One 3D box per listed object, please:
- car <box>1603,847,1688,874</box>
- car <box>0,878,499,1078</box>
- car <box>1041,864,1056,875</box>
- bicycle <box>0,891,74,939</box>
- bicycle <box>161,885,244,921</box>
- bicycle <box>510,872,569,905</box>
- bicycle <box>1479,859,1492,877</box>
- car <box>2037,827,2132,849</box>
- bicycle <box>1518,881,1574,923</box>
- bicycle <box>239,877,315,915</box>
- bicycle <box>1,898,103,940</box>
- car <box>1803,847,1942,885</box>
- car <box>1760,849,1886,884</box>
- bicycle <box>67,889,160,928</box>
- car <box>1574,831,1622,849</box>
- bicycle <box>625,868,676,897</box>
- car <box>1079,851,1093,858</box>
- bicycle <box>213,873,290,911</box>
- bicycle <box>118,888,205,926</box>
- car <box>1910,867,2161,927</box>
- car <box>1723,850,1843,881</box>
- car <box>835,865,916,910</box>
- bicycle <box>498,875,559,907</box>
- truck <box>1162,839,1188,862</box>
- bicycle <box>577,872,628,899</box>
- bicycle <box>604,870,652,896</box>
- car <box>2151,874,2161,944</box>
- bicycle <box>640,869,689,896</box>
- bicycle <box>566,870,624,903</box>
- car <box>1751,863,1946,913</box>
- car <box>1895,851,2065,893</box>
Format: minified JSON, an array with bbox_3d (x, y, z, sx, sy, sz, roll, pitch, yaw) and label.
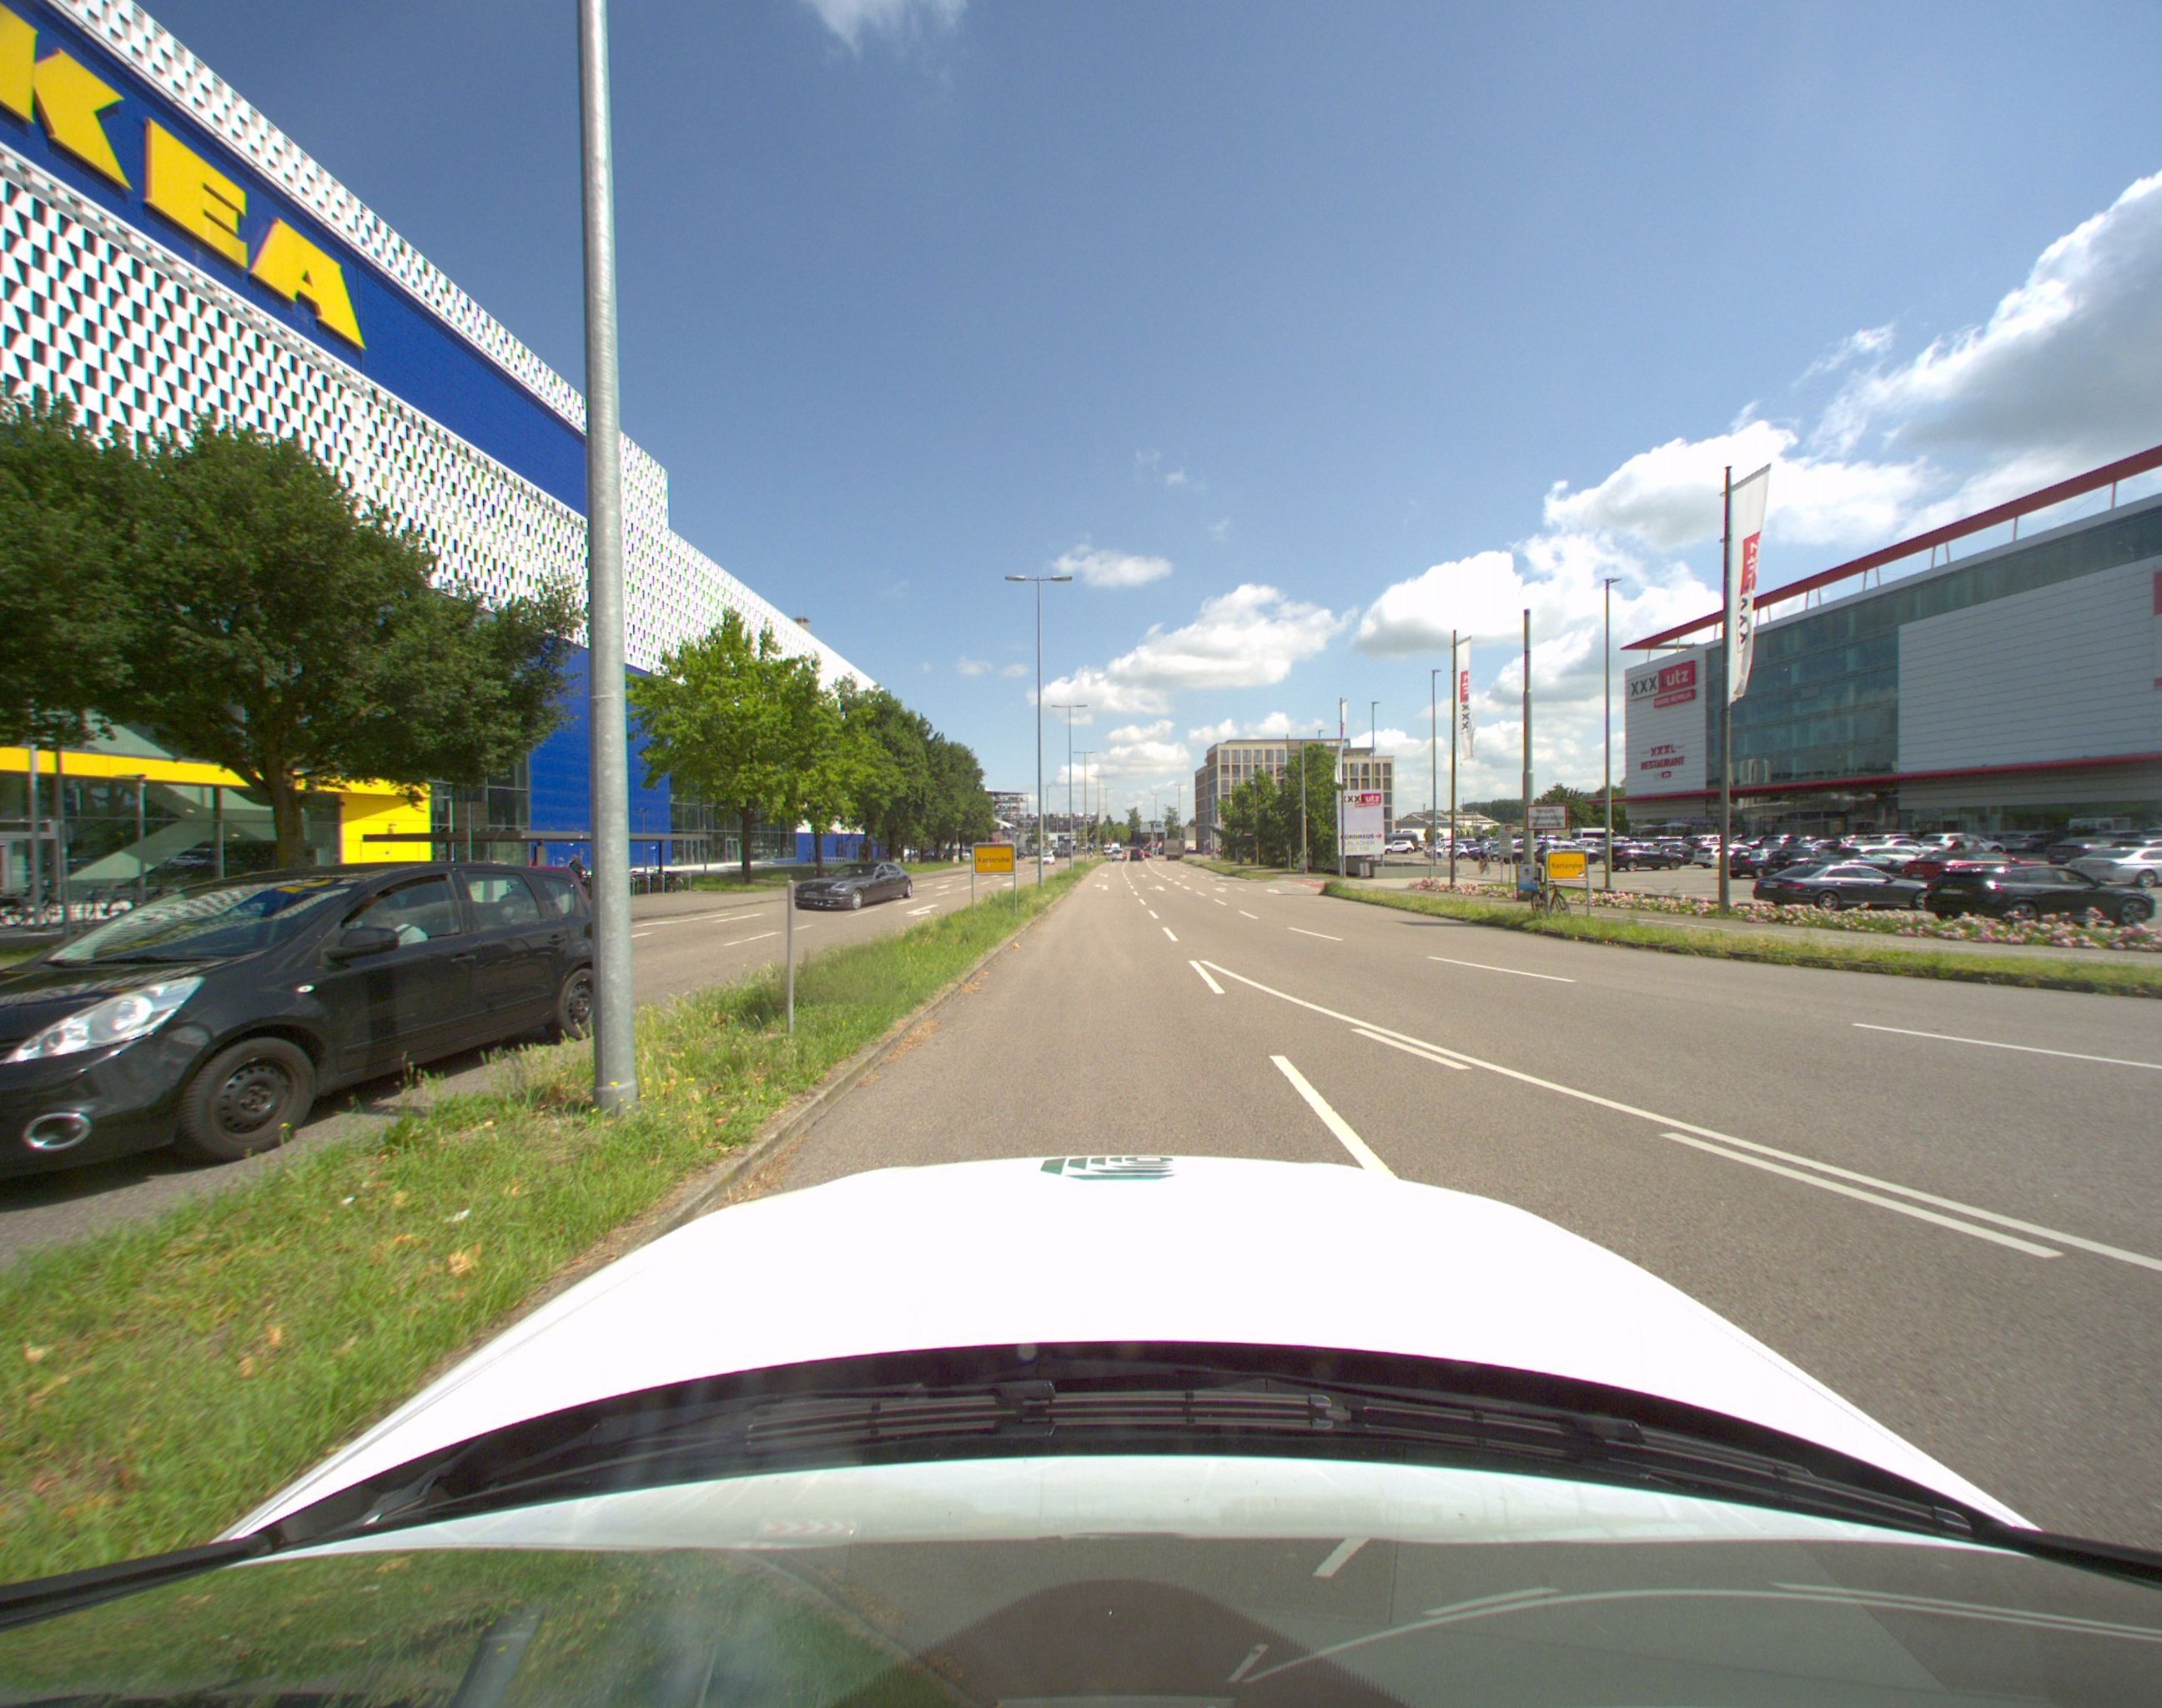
[{"bbox_3d":[34.889,0.388,50.369,4.042,1.531,1.741,-2,0,-2],"label":"car"},{"bbox_3d":[-8.120,1.011,8.199,1.406,1.391,4.098,-3,-1,2],"label":"car"},{"bbox_3d":[-4.386,2.044,109.794,1.636,1.429,3.673,-2,0,3],"label":"car"},{"bbox_3d":[-27.316,1.573,21.028,1.951,1.172,0.467,0,0,-3],"label":"bicycle"},{"bbox_3d":[-27.537,1.538,25.538,1.929,1.070,0.528,-1,-1,-3],"label":"bicycle"},{"bbox_3d":[-21.511,1.355,32.340,1.918,1.272,0.630,0,0,1],"label":"bicycle"},{"bbox_3d":[25.901,0.914,52.123,0.617,1.068,1.980,-1,0,28],"label":"bicycle"},{"bbox_3d":[66.676,-1.058,54.141,4.150,1.478,1.740,0,1,1],"label":"car"},{"bbox_3d":[11.192,1.139,19.635,0.515,0.952,1.544,0,-1,2],"label":"bicycle"},{"bbox_3d":[-27.587,1.438,27.951,1.940,1.244,0.597,-1,-1,-3],"label":"bicycle"},{"bbox_3d":[-27.313,1.719,21.624,1.929,1.070,0.528,-1,-1,-3],"label":"bicycle"},{"bbox_3d":[34.815,0.511,35.903,4.339,1.508,1.684,-2,0,3],"label":"car"},{"bbox_3d":[34.996,0.569,38.497,4.339,1.442,1.628,-2,1,3],"label":"car"},{"bbox_3d":[-27.505,1.543,23.172,1.929,1.070,0.528,-1,-1,-3],"label":"bicycle"},{"bbox_3d":[56.443,-1.554,88.890,3.971,1.951,2.001,0,1,2],"label":"car"},{"bbox_3d":[-19.119,1.256,36.192,1.918,1.272,0.630,0,0,1],"label":"bicycle"},{"bbox_3d":[1.403,0.232,223.738,3.977,1.926,1.825,0,0,-3],"label":"car"},{"bbox_3d":[-27.523,1.257,27.022,1.929,1.209,0.528,-1,-1,-3],"label":"bicycle"},{"bbox_3d":[-27.541,1.587,24.397,1.924,1.089,0.520,0,0,-2],"label":"bicycle"},{"bbox_3d":[24.609,1.093,21.083,4.341,1.416,1.858,-1,0,2],"label":"car"},{"bbox_3d":[35.153,0.554,40.869,4.339,1.362,1.849,-2,1,3],"label":"car"},{"bbox_3d":[-7.499,1.178,30.152,1.657,1.421,4.520,-3,-1,2],"label":"car"},{"bbox_3d":[-21.296,1.424,31.426,1.918,1.183,0.630,0,1,1],"label":"bicycle"},{"bbox_3d":[16.447,-0.654,142.359,3.106,3.940,8.895,0,1,15],"label":"truck"},{"bbox_3d":[-21.268,1.398,36.215,1.918,1.179,0.630,0,1,1],"label":"bicycle"},{"bbox_3d":[-21.307,1.379,38.317,1.918,1.184,0.630,0,1,1],"label":"bicycle"},{"bbox_3d":[24.443,1.118,16.007,4.341,1.440,1.797,-1,0,2],"label":"car"},{"bbox_3d":[-19.085,1.292,37.345,1.918,1.183,0.630,0,1,1],"label":"bicycle"},{"bbox_3d":[-19.364,1.282,32.466,1.918,1.272,0.630,0,0,1],"label":"bicycle"},{"bbox_3d":[24.447,1.064,26.078,4.340,1.476,1.858,-1,-1,3],"label":"car"},{"bbox_3d":[34.271,0.658,31.145,4.339,1.362,1.849,-2,1,3],"label":"car"}]
